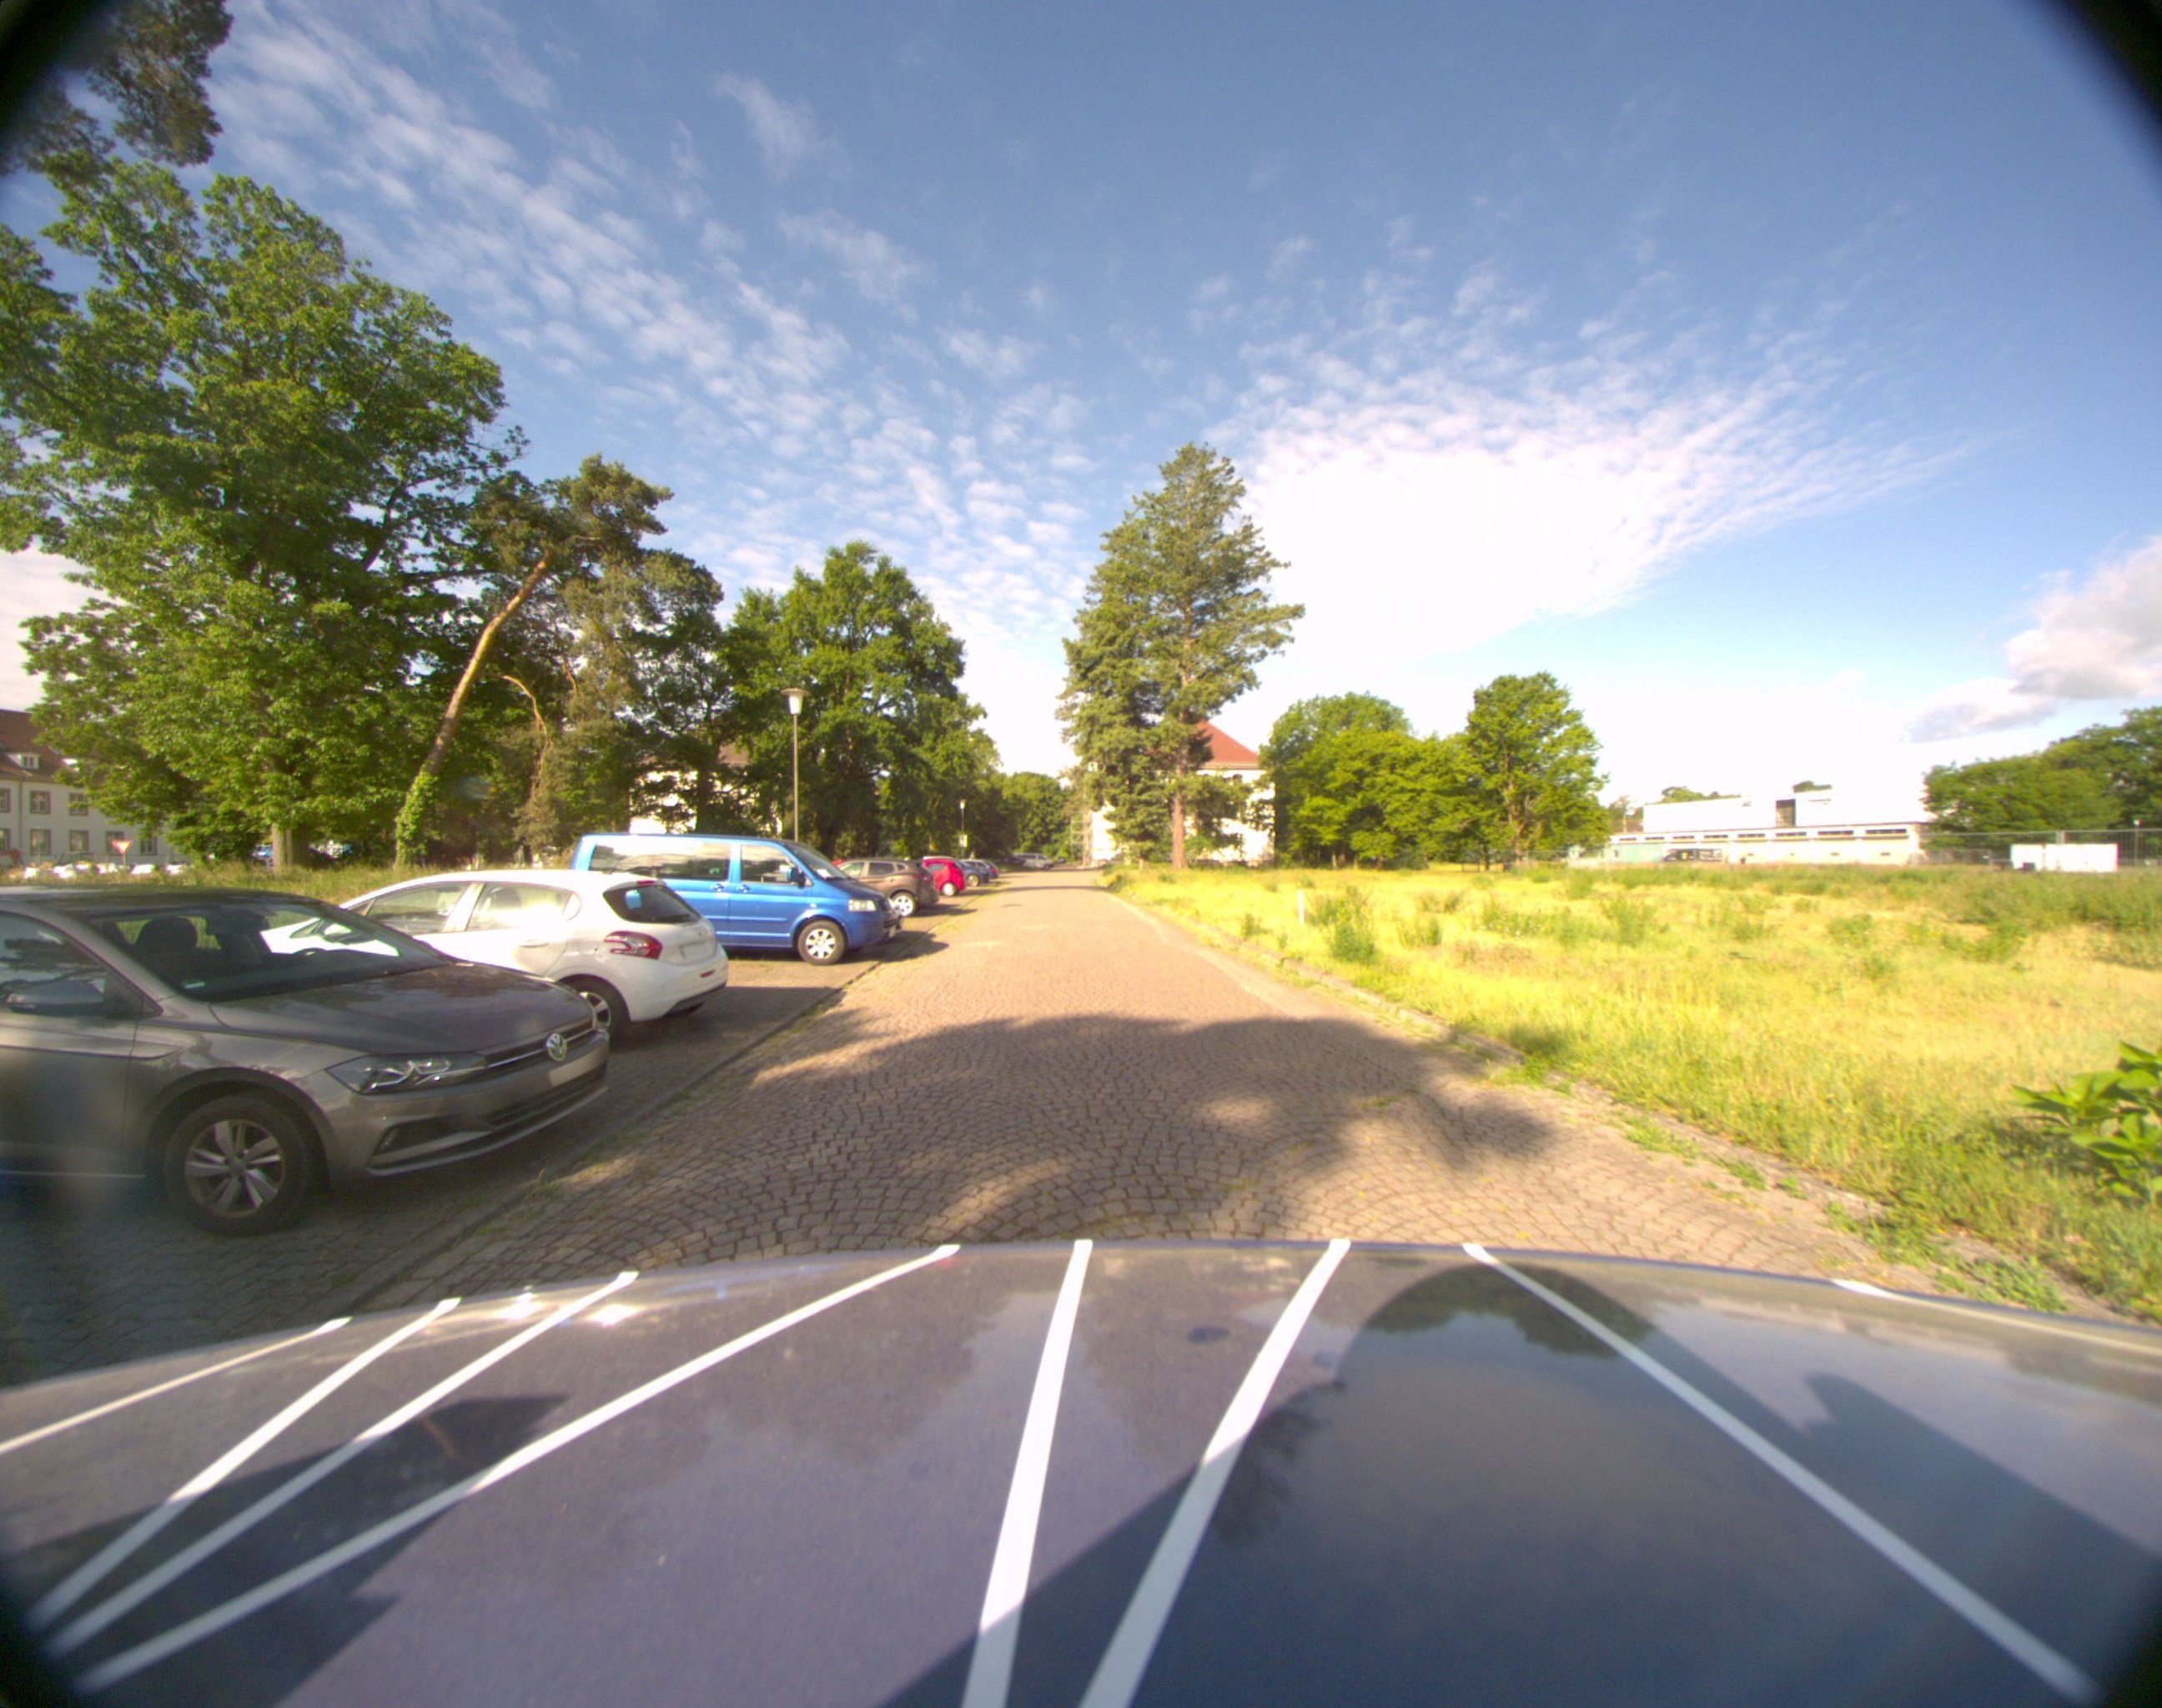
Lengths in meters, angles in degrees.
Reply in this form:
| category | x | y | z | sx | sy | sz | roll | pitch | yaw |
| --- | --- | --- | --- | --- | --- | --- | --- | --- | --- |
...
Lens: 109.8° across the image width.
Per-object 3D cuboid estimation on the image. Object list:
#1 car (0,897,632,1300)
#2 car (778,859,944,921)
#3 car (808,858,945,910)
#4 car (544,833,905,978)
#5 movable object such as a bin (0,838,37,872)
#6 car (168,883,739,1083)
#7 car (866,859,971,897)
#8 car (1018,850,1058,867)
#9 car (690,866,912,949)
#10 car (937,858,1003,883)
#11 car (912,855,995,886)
| category | x | y | z | sx | sy | sz | roll | pitch | yaw |
| --- | --- | --- | --- | --- | --- | --- | --- | --- | --- |
| car | -4.705 | 1.022 | 3.849 | 3.791 | 1.442 | 1.757 | 1 | 0 | -1 |
| car | -5.951 | 0.962 | 20.966 | 4.119 | 1.601 | 1.785 | 0 | 0 | -4 |
| car | -6.291 | 0.913 | 23.734 | 3.836 | 1.530 | 1.703 | 1 | 0 | -3 |
| car | -5.422 | 0.761 | 12.120 | 4.767 | 2.002 | 1.999 | 2 | 0 | -3 |
| movable object such as a bin | -93.405 | 0.060 | 64.576 | 2.178 | 2.884 | 5.074 | 0 | 0 | 4 |
| car | -5.247 | 1.033 | 6.768 | 3.655 | 1.483 | 1.634 | 0 | 0 | -3 |
| car | -6.599 | 0.965 | 31.189 | 3.998 | 1.487 | 1.540 | -1 | 1 | -3 |
| car | -5.424 | 0.581 | 95.279 | 4.995 | 2.123 | 2.164 | 0 | 0 | -5 |
| car | -5.298 | 1.008 | 14.759 | 3.731 | 1.458 | 1.609 | 1 | 0 | -5 |
| car | -6.710 | 0.984 | 46.214 | 3.810 | 1.458 | 1.746 | -1 | 0 | -2 |
| car | -6.913 | 0.877 | 41.472 | 4.275 | 1.589 | 1.651 | -1 | 1 | -3 |
